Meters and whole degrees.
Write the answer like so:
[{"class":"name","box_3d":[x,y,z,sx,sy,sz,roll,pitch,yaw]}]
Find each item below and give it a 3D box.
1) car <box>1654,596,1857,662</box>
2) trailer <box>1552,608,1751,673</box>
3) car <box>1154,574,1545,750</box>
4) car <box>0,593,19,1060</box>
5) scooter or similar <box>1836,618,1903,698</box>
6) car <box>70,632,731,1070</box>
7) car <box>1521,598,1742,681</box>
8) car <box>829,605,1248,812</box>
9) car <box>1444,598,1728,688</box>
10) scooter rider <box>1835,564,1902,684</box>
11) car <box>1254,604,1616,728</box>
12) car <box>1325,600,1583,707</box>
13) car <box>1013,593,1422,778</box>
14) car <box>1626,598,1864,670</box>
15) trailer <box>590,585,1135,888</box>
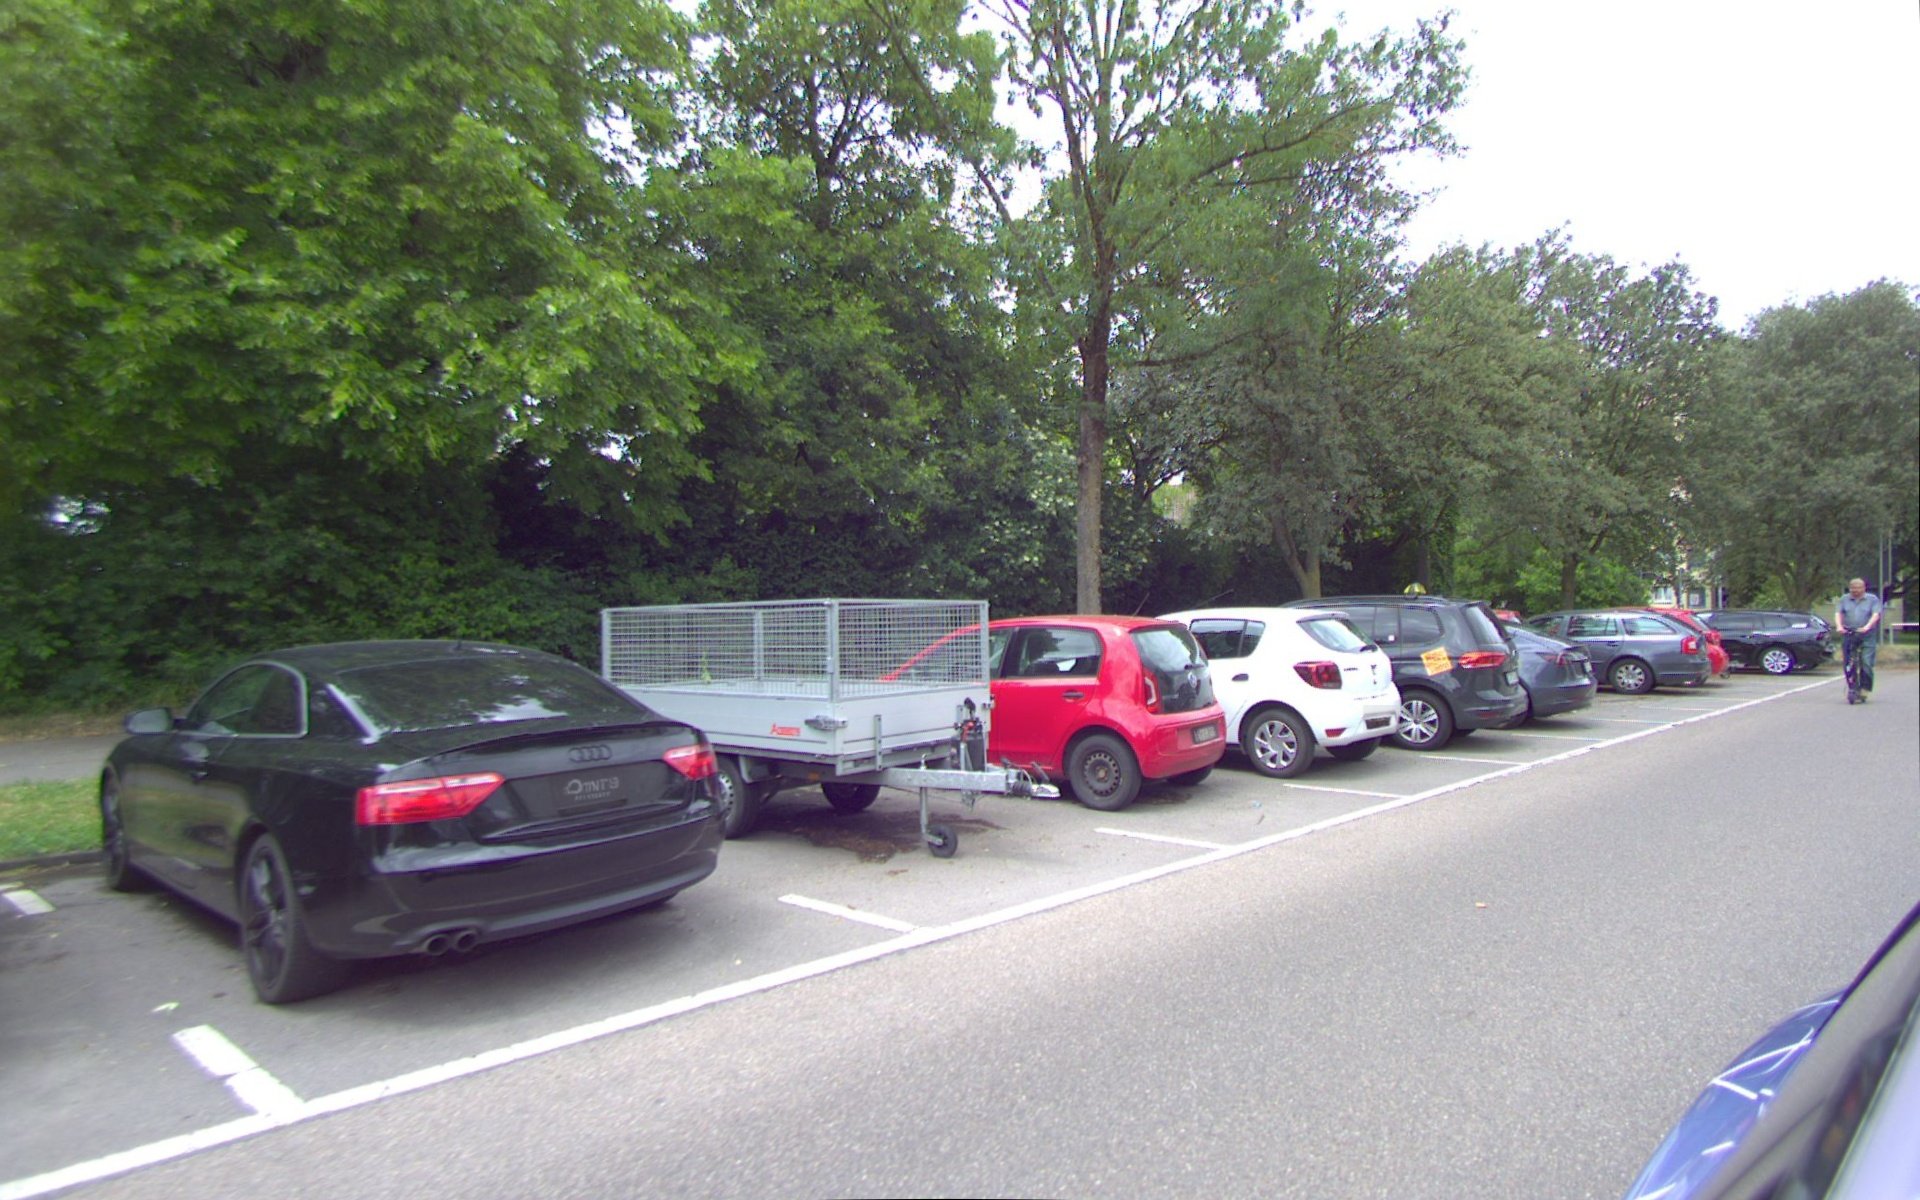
[{"class":"car","box_3d":[19.465,0.704,24.876,1.549,1.495,3.719,1,-2,-42]},{"class":"trailer","box_3d":[14.944,0.837,21.937,3.397,1.283,1.593,-1,0,41]},{"class":"car","box_3d":[4.472,0.643,11.934,3.978,1.747,1.657,-1,-1,39]},{"class":"car","box_3d":[-5.118,0.762,3.767,3.898,1.506,1.598,-1,-1,35]},{"class":"scooter or similar","box_3d":[13.965,0.857,15.527,0.681,1.154,1.436,-1,-2,45]},{"class":"car","box_3d":[-3.058,0.865,5.136,4.029,1.344,1.538,-1,0,39]},{"class":"car","box_3d":[13.260,0.747,20.087,3.515,1.495,1.570,-1,-1,38]},{"class":"car","box_3d":[0.595,0.810,8.940,3.417,1.464,1.538,-1,-1,38]},{"class":"car","box_3d":[11.405,0.745,18.620,4.215,1.483,1.610,-1,-1,42]},{"class":"scooter rider","box_3d":[13.901,0.359,15.478,0.681,1.752,1.177,-1,-2,45]},{"class":"car","box_3d":[6.311,0.799,13.705,4.152,1.424,1.674,-1,-1,39]},{"class":"car","box_3d":[7.644,0.769,15.784,3.321,1.483,1.611,-1,-1,40]},{"class":"car","box_3d":[2.487,0.744,10.437,1.579,1.549,3.823,0,-1,-44]},{"class":"car","box_3d":[17.663,0.744,22.979,4.127,1.495,1.554,-1,-1,39]},{"class":"trailer","box_3d":[-0.819,0.751,7.003,3.681,1.555,1.623,-2,-2,39]}]
